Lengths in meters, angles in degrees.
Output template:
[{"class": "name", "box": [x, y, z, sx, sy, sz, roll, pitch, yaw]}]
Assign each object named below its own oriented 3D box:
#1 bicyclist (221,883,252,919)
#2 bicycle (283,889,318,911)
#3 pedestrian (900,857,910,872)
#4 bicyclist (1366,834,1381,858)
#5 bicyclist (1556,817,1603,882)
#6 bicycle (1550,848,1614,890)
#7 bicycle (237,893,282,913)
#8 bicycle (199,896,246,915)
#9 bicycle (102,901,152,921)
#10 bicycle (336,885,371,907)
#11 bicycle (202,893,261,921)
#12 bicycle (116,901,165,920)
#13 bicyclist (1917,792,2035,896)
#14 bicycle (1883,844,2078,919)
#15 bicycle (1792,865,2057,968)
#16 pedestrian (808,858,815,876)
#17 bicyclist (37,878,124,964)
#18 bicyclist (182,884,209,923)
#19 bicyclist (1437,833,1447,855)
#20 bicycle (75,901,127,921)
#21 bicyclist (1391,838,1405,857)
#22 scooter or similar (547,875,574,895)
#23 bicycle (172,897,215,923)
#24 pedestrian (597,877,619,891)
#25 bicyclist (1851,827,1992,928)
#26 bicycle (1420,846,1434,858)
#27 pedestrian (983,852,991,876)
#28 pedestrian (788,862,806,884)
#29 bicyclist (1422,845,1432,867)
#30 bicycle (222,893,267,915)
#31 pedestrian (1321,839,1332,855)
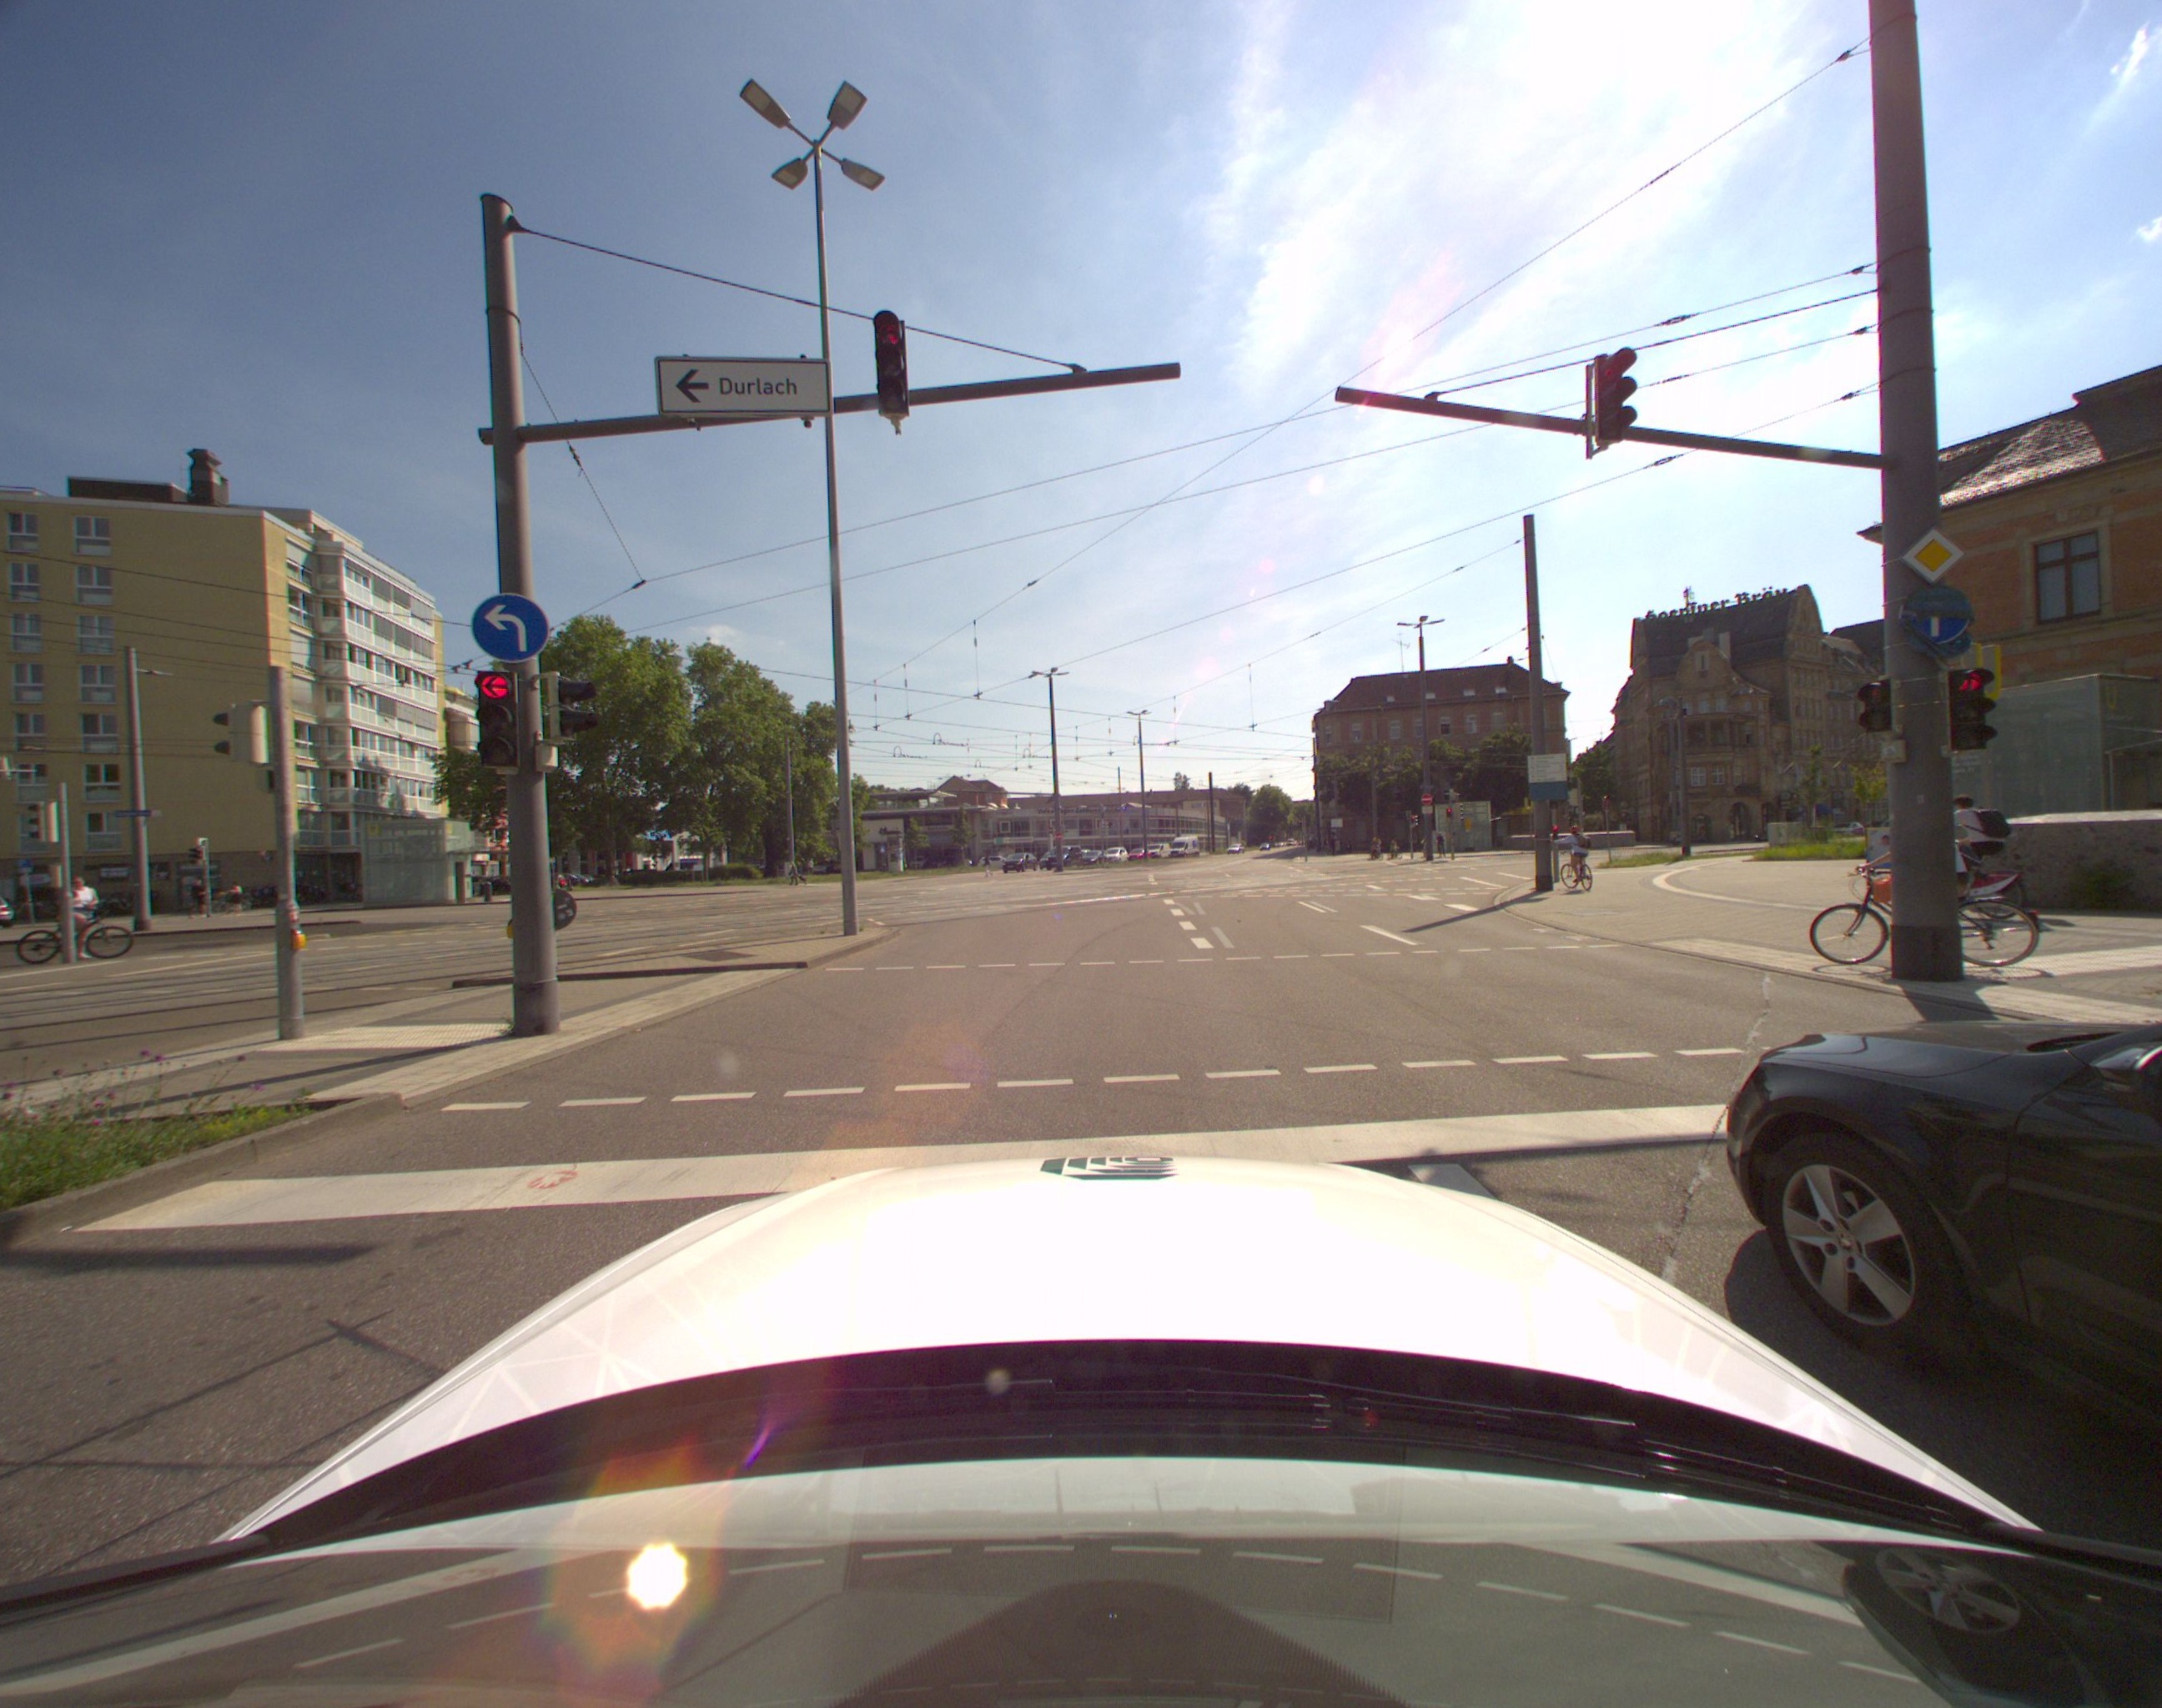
[{"class": "bicyclist", "box": [-39.162, 2.178, 37.760, 0.728, 1.572, 0.613, -3, -1, 2]}, {"class": "bicycle", "box": [-46.289, 2.694, 48.310, 0.540, 1.186, 1.881, -2, 0, -13]}, {"class": "pedestrian", "box": [-18.582, 1.121, 85.859, 0.951, 1.580, 0.534, 0, -1, -2]}, {"class": "bicyclist", "box": [22.037, -0.577, 61.397, 0.920, 1.820, 1.056, -1, -1, 11]}, {"class": "bicyclist", "box": [13.502, -0.129, 22.076, 0.710, 1.669, 0.877, -5, -1, 10]}, {"class": "bicycle", "box": [13.551, 0.382, 22.079, 0.710, 1.015, 2.026, -5, 0, 10]}, {"class": "bicycle", "box": [-46.815, 2.793, 46.402, 1.750, 1.043, 0.582, -3, 1, -9]}, {"class": "bicycle", "box": [-48.419, 2.908, 45.943, 1.751, 0.965, 0.582, -3, 1, -11]}, {"class": "bicycle", "box": [-52.069, 3.109, 44.457, 1.750, 0.916, 0.582, -3, 1, -8]}, {"class": "bicycle", "box": [-44.392, 2.544, 49.688, 0.581, 1.219, 1.754, -3, 1, -5]}, {"class": "bicycle", "box": [-39.192, 2.417, 37.602, 0.749, 1.130, 1.798, -2, 0, 3]}, {"class": "bicycle", "box": [-51.991, 3.113, 45.021, 1.750, 0.916, 0.582, -3, 1, -8]}, {"class": "bicyclist", "box": [13.398, -0.138, 12.222, 0.711, 1.488, 0.950, 0, -1, 2]}, {"class": "bicycle", "box": [13.399, 0.388, 12.247, 0.711, 1.015, 2.022, -2, -1, 2]}, {"class": "bicycle", "box": [9.289, 0.707, 9.099, 1.894, 1.015, 0.721, -5, -1, 35]}, {"class": "pedestrian", "box": [-24.406, 1.177, 73.636, 0.388, 1.596, 0.467, -1, -1, 25]}, {"class": "bicyclist", "box": [-20.924, 1.374, 17.053, 0.774, 1.684, 0.749, -4, 0, -9]}, {"class": "bicyclist", "box": [-40.791, 2.258, 37.504, 0.584, 1.735, 0.613, -3, -1, -22]}, {"class": "bicyclist", "box": [26.920, -0.755, 60.705, 0.661, 1.624, 0.787, -1, 0, 24]}, {"class": "bicycle", "box": [-53.566, 3.121, 44.529, 1.754, 0.916, 0.581, -3, 1, -15]}, {"class": "bicyclist", "box": [23.770, -0.481, 61.111, 0.918, 1.451, 1.258, -1, 1, 21]}, {"class": "scooter or similar", "box": [-32.101, 1.908, 50.219, 1.351, 1.119, 0.519, -2, 0, 11]}, {"class": "bicycle", "box": [-40.937, 2.569, 37.573, 0.584, 1.130, 1.784, -3, -1, -21]}, {"class": "pedestrian", "box": [-33.167, 2.125, 57.108, 1.175, 0.892, 0.818, -2, 0, -18]}, {"class": "bicyclist", "box": [9.313, 0.259, 9.071, 0.904, 1.029, 0.721, -5, -1, 35]}, {"class": "bicycle", "box": [25.985, -0.174, 61.184, 0.497, 0.866, 1.590, 0, 0, 7]}, {"class": "pedestrian", "box": [-6.356, 0.651, 55.099, 0.456, 1.605, 0.396, 0, -1, -34]}, {"class": "pedestrian", "box": [-18.516, 1.257, 53.058, 1.117, 1.404, 0.652, 0, -1, -20]}, {"class": "bicyclist", "box": [25.983, 0.122, 61.169, 0.497, 1.621, 0.651, 0, 0, 7]}, {"class": "bicycle", "box": [-46.962, 2.801, 45.739, 1.747, 1.085, 0.583, -3, 3, -4]}, {"class": "pedestrian", "box": [21.616, -0.626, 71.762, 0.616, 1.433, 0.705, 0, -1, -36]}]
